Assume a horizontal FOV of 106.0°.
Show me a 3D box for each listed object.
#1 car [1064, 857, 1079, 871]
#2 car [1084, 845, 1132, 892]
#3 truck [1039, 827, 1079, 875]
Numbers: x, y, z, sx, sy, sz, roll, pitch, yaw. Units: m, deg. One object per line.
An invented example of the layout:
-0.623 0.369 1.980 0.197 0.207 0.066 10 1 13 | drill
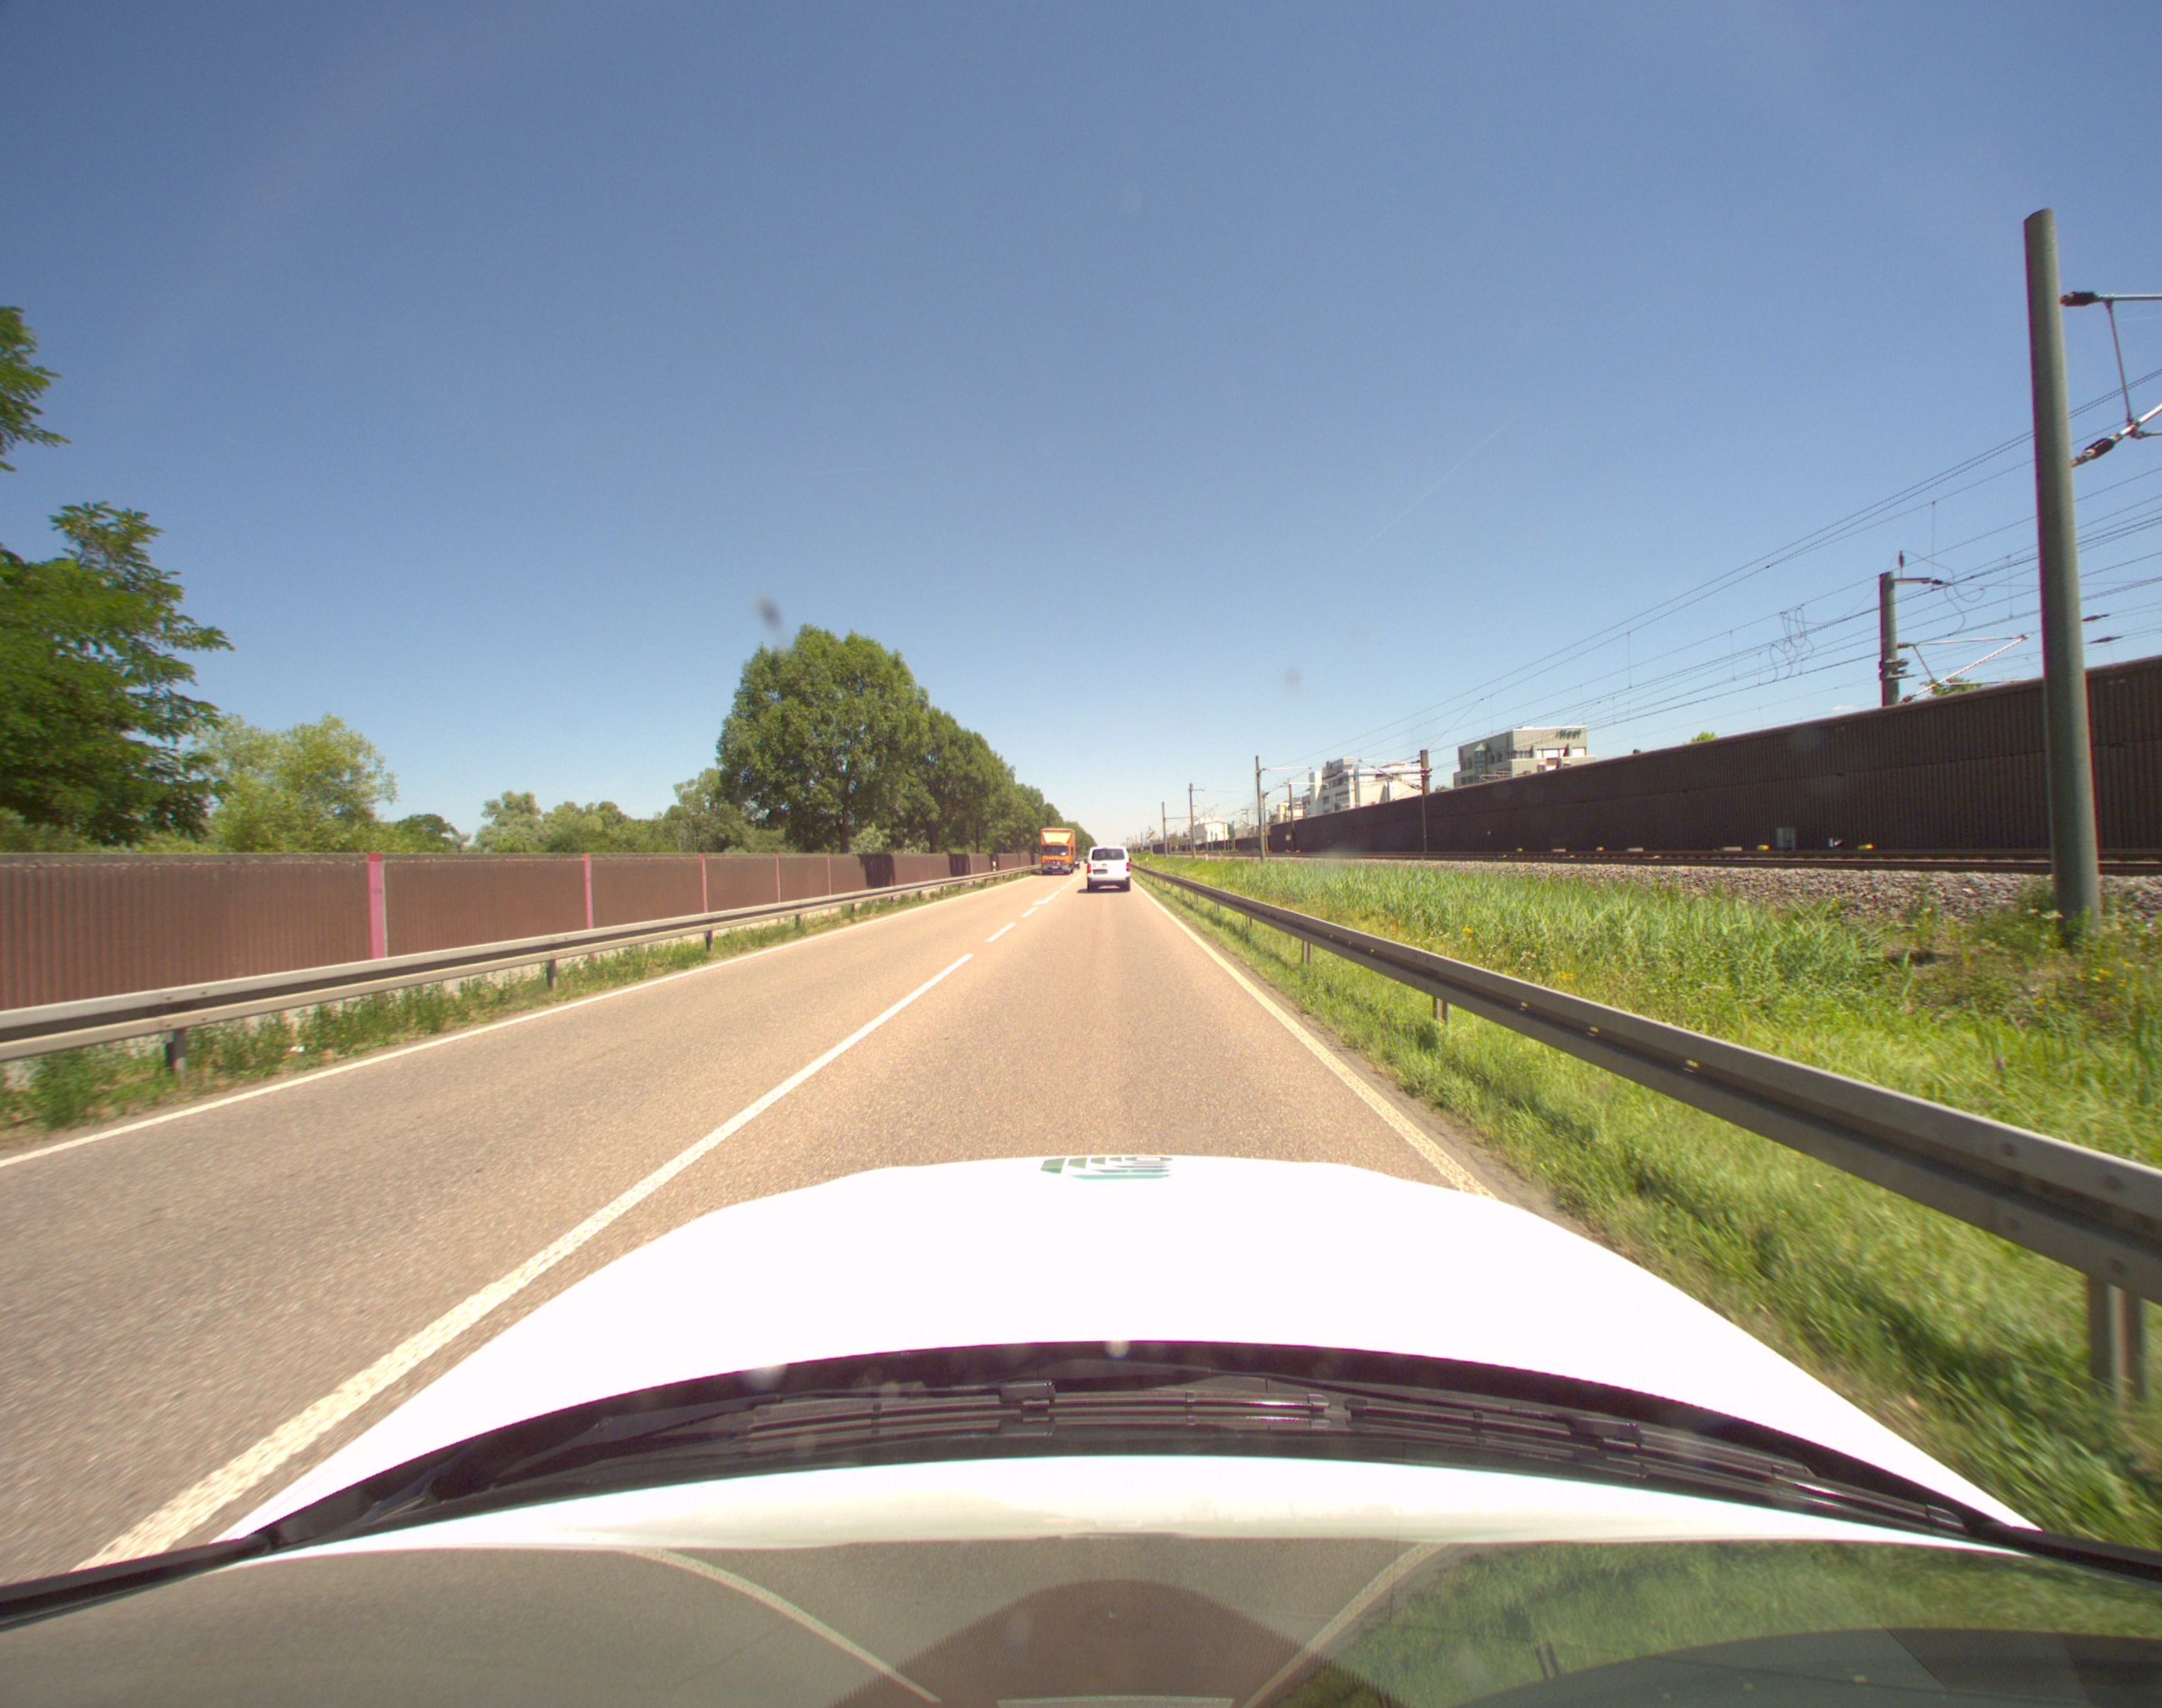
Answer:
-1.081 1.169 95.927 1.616 1.577 3.765 -2 0 2 | car
1.200 0.598 35.987 1.938 1.881 4.882 -1 0 2 | car
-1.814 -0.252 70.543 2.781 3.840 9.328 -2 0 2 | truck
